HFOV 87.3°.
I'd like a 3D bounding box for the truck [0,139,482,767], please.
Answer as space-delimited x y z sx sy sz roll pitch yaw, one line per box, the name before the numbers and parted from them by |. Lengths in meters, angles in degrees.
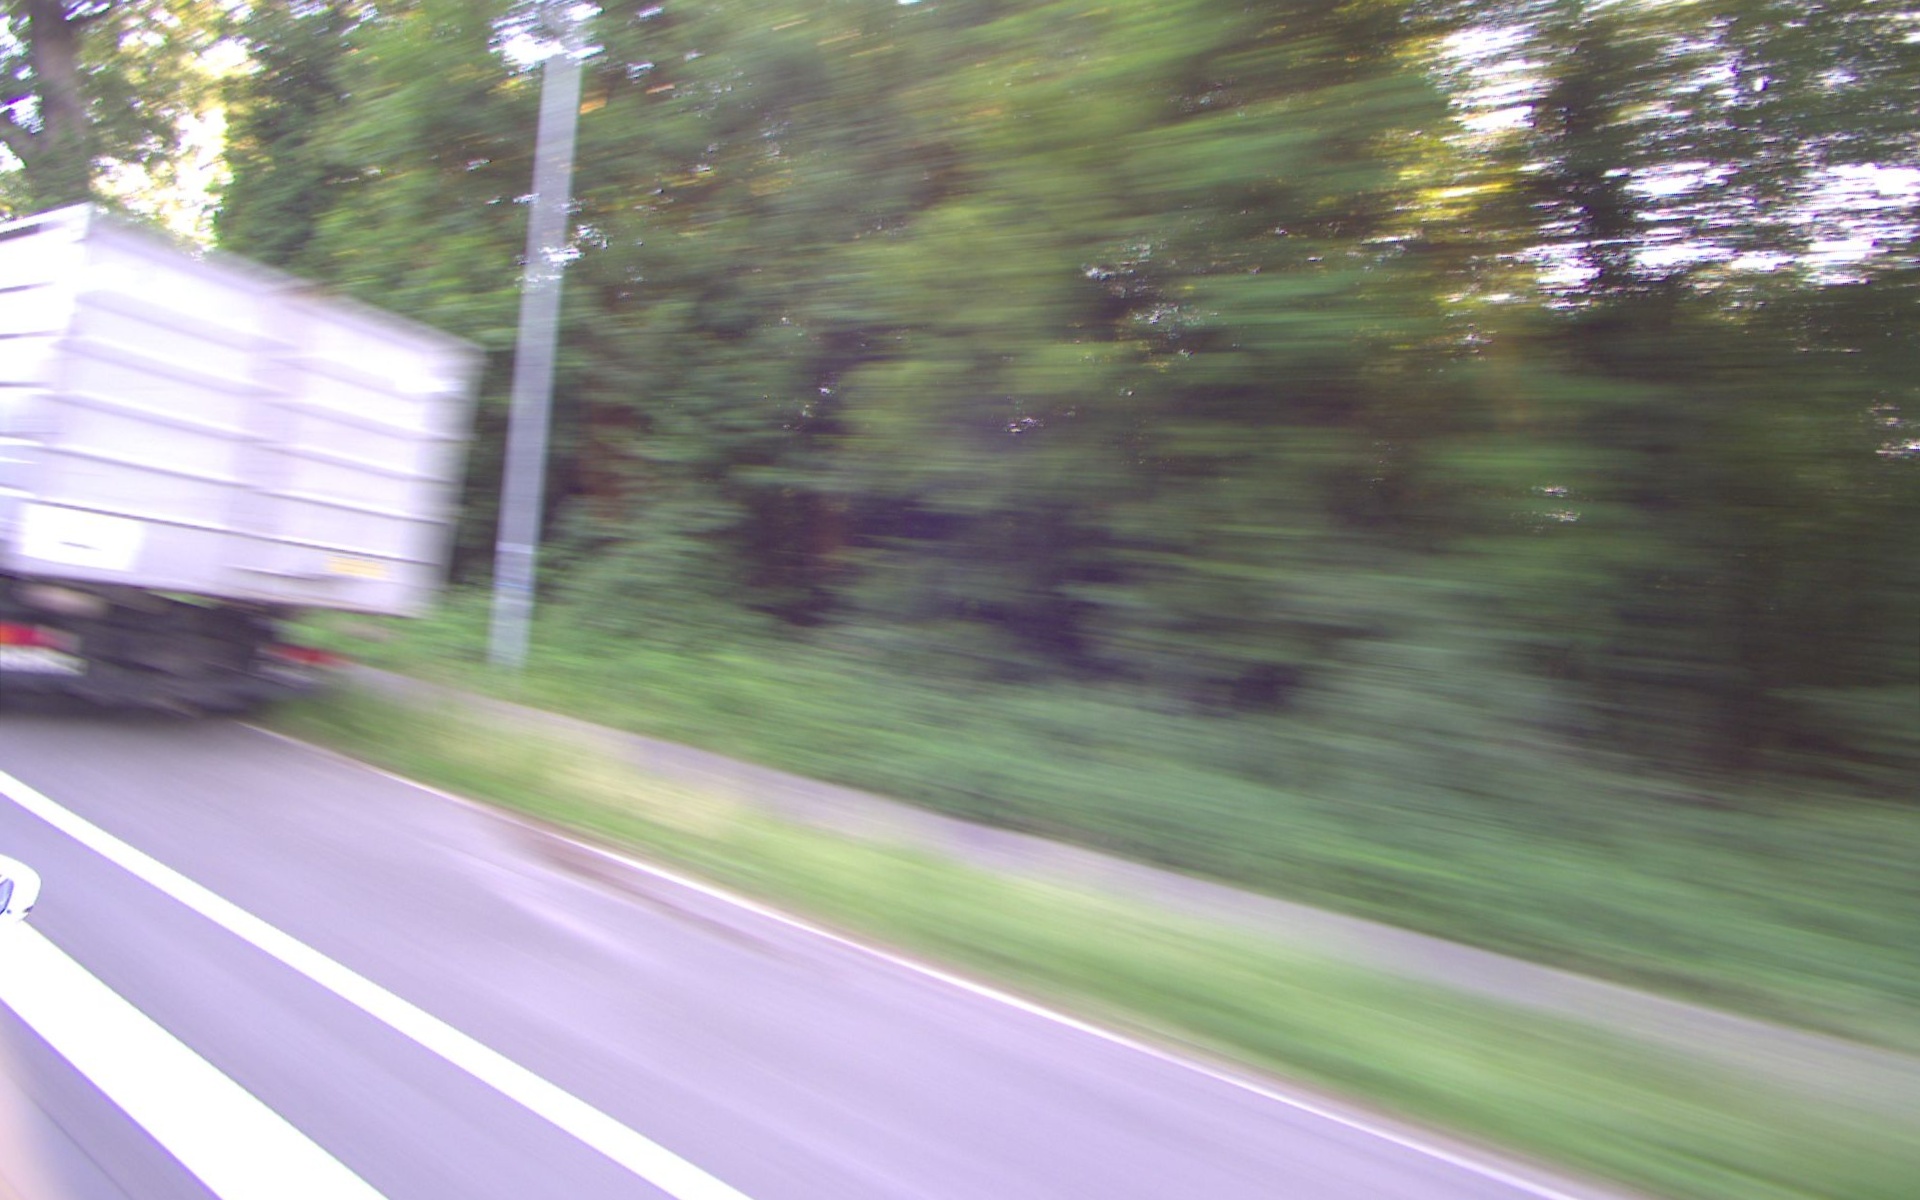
truck | -7.357 -0.955 8.270 7.104 3.293 2.592 6 -1 33
